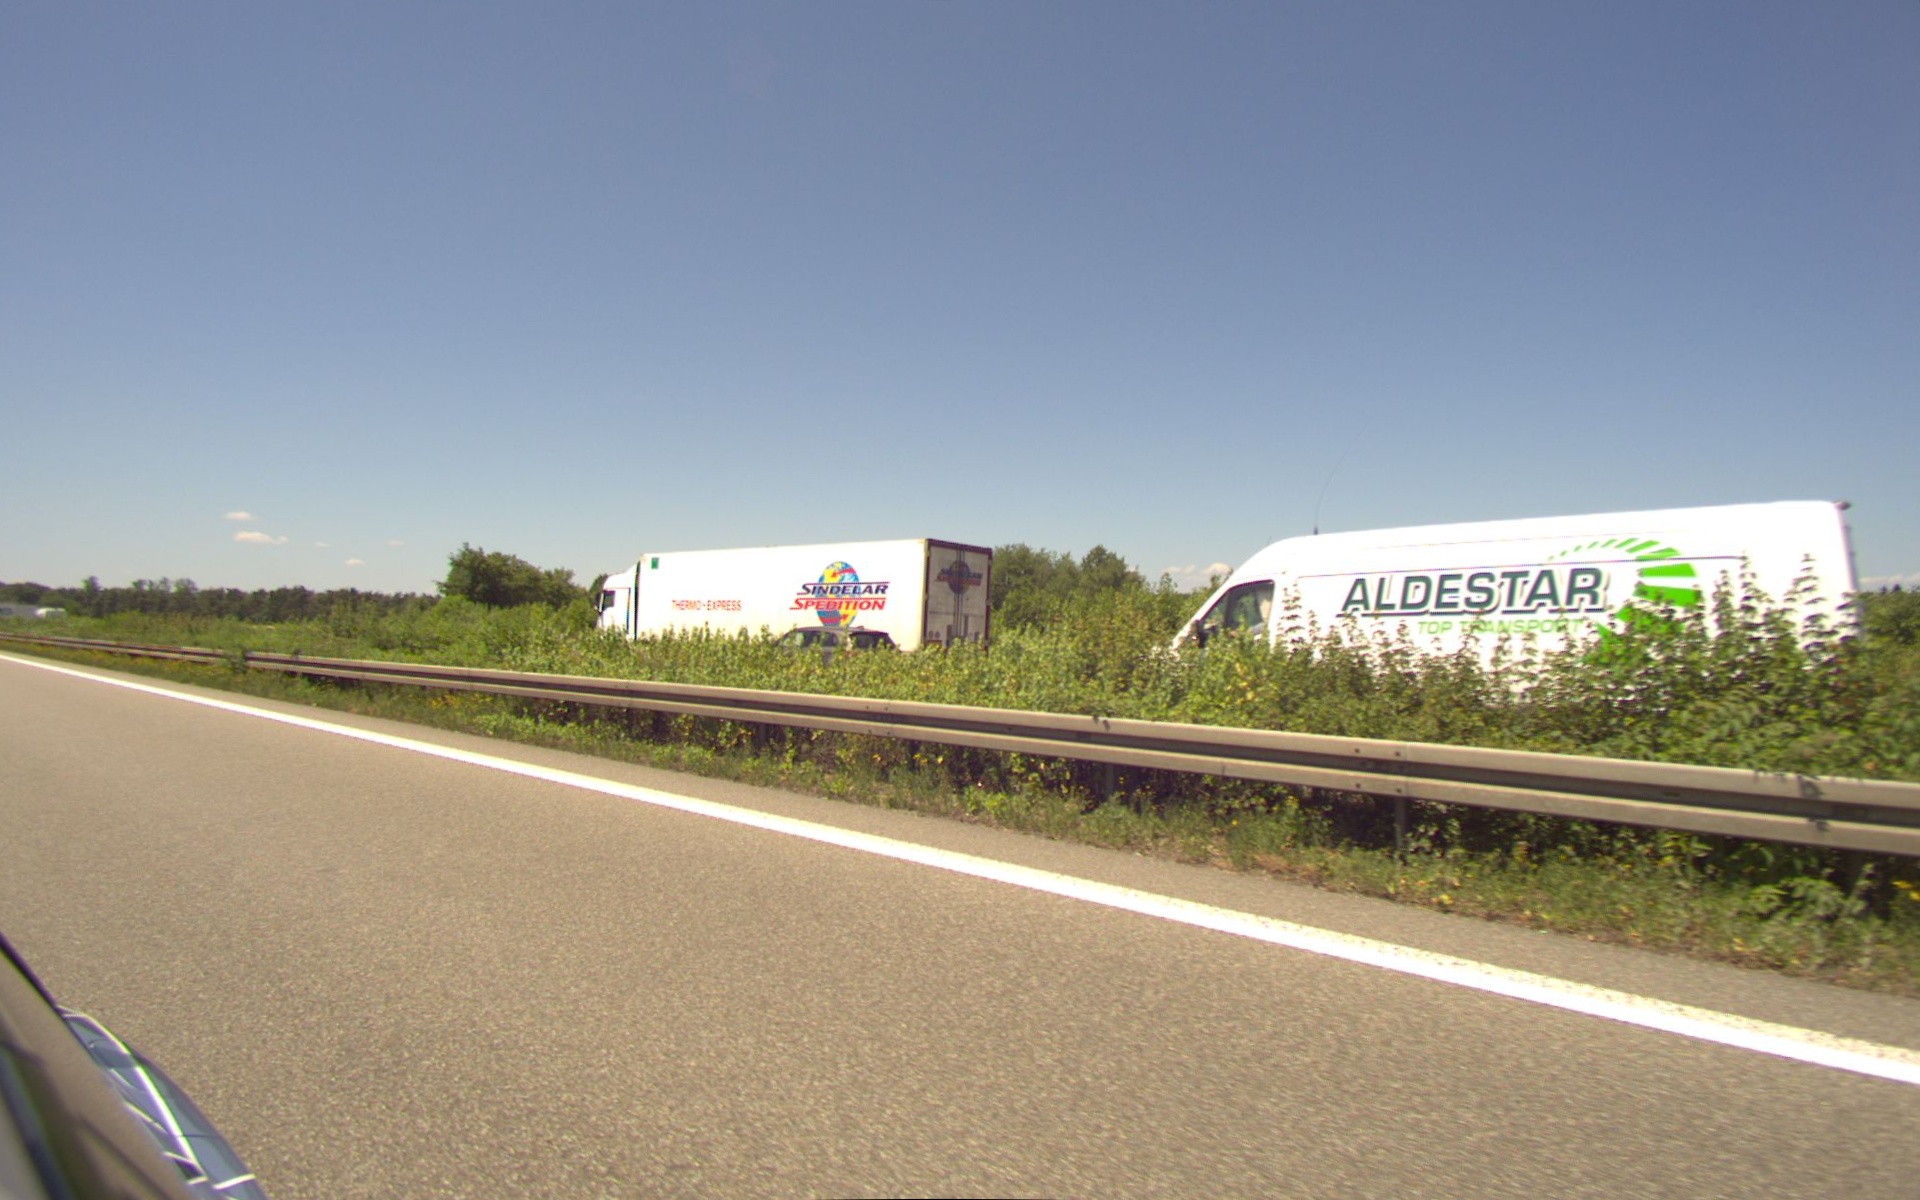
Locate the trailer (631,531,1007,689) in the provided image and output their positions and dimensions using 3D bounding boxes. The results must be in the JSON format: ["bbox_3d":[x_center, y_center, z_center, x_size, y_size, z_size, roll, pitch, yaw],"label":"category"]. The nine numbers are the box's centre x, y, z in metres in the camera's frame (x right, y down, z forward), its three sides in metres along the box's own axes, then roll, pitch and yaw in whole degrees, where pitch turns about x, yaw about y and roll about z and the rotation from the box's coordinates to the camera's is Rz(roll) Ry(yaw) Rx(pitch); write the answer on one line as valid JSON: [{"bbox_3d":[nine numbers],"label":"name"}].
[{"bbox_3d":[-4.918,0.320,30.654,13.903,3.899,2.903,-1,0,41],"label":"trailer"}]

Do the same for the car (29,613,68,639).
[{"bbox_3d":[-89.555,2.549,99.388,6.729,2.412,2.059,-1,0,41],"label":"car"}]

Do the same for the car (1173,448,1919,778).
[{"bbox_3d":[5.660,0.128,10.452,6.775,2.519,1.787,-1,0,42],"label":"car"}]

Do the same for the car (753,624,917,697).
[{"bbox_3d":[-2.704,1.229,21.622,3.389,1.356,1.646,-1,0,42],"label":"car"}]

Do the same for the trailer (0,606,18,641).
[{"bbox_3d":[-128.489,3.127,135.088,13.861,4.560,2.791,-1,0,42],"label":"trailer"}]

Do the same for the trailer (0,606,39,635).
[{"bbox_3d":[-140.528,3.007,151.171,14.320,4.089,2.924,-1,0,42],"label":"trailer"}]

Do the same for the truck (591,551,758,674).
[{"bbox_3d":[-9.968,0.404,35.100,5.749,3.899,2.903,-1,0,41],"label":"truck"}]
